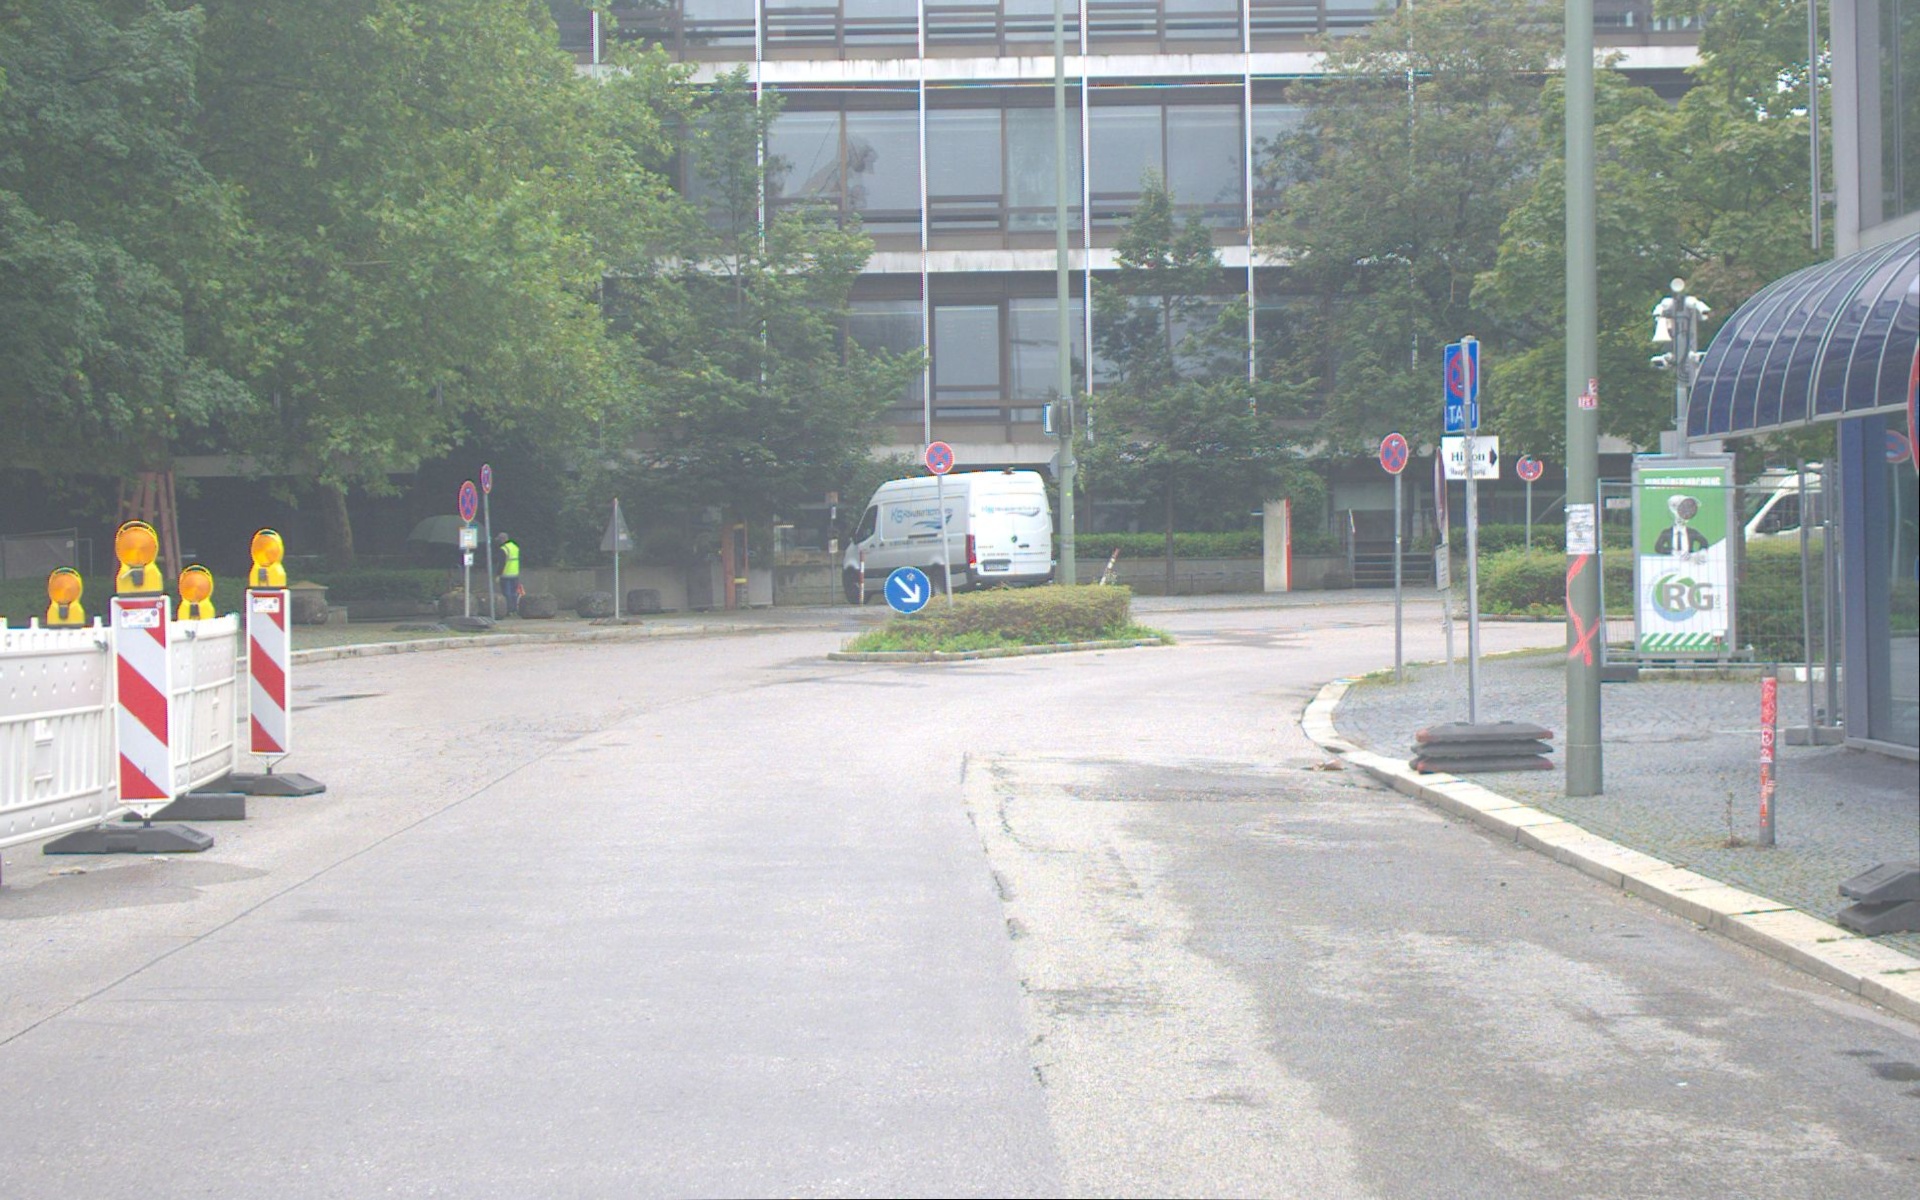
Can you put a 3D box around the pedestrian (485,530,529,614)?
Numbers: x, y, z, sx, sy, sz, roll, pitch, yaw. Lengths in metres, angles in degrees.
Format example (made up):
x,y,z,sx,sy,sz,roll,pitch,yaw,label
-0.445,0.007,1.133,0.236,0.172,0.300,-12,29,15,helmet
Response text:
x,y,z,sx,sy,sz,roll,pitch,yaw,label
-9.147,-0.570,69.401,0.741,1.671,0.682,-1,1,-19,pedestrian

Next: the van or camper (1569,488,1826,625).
x,y,z,sx,sy,sz,roll,pitch,yaw,label
14.461,-0.869,67.516,4.449,2.577,2.109,-1,1,-11,van or camper

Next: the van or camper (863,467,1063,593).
x,y,z,sx,sy,sz,roll,pitch,yaw,label
0.016,-1.437,70.638,2.085,2.483,5.068,-1,1,-26,van or camper
